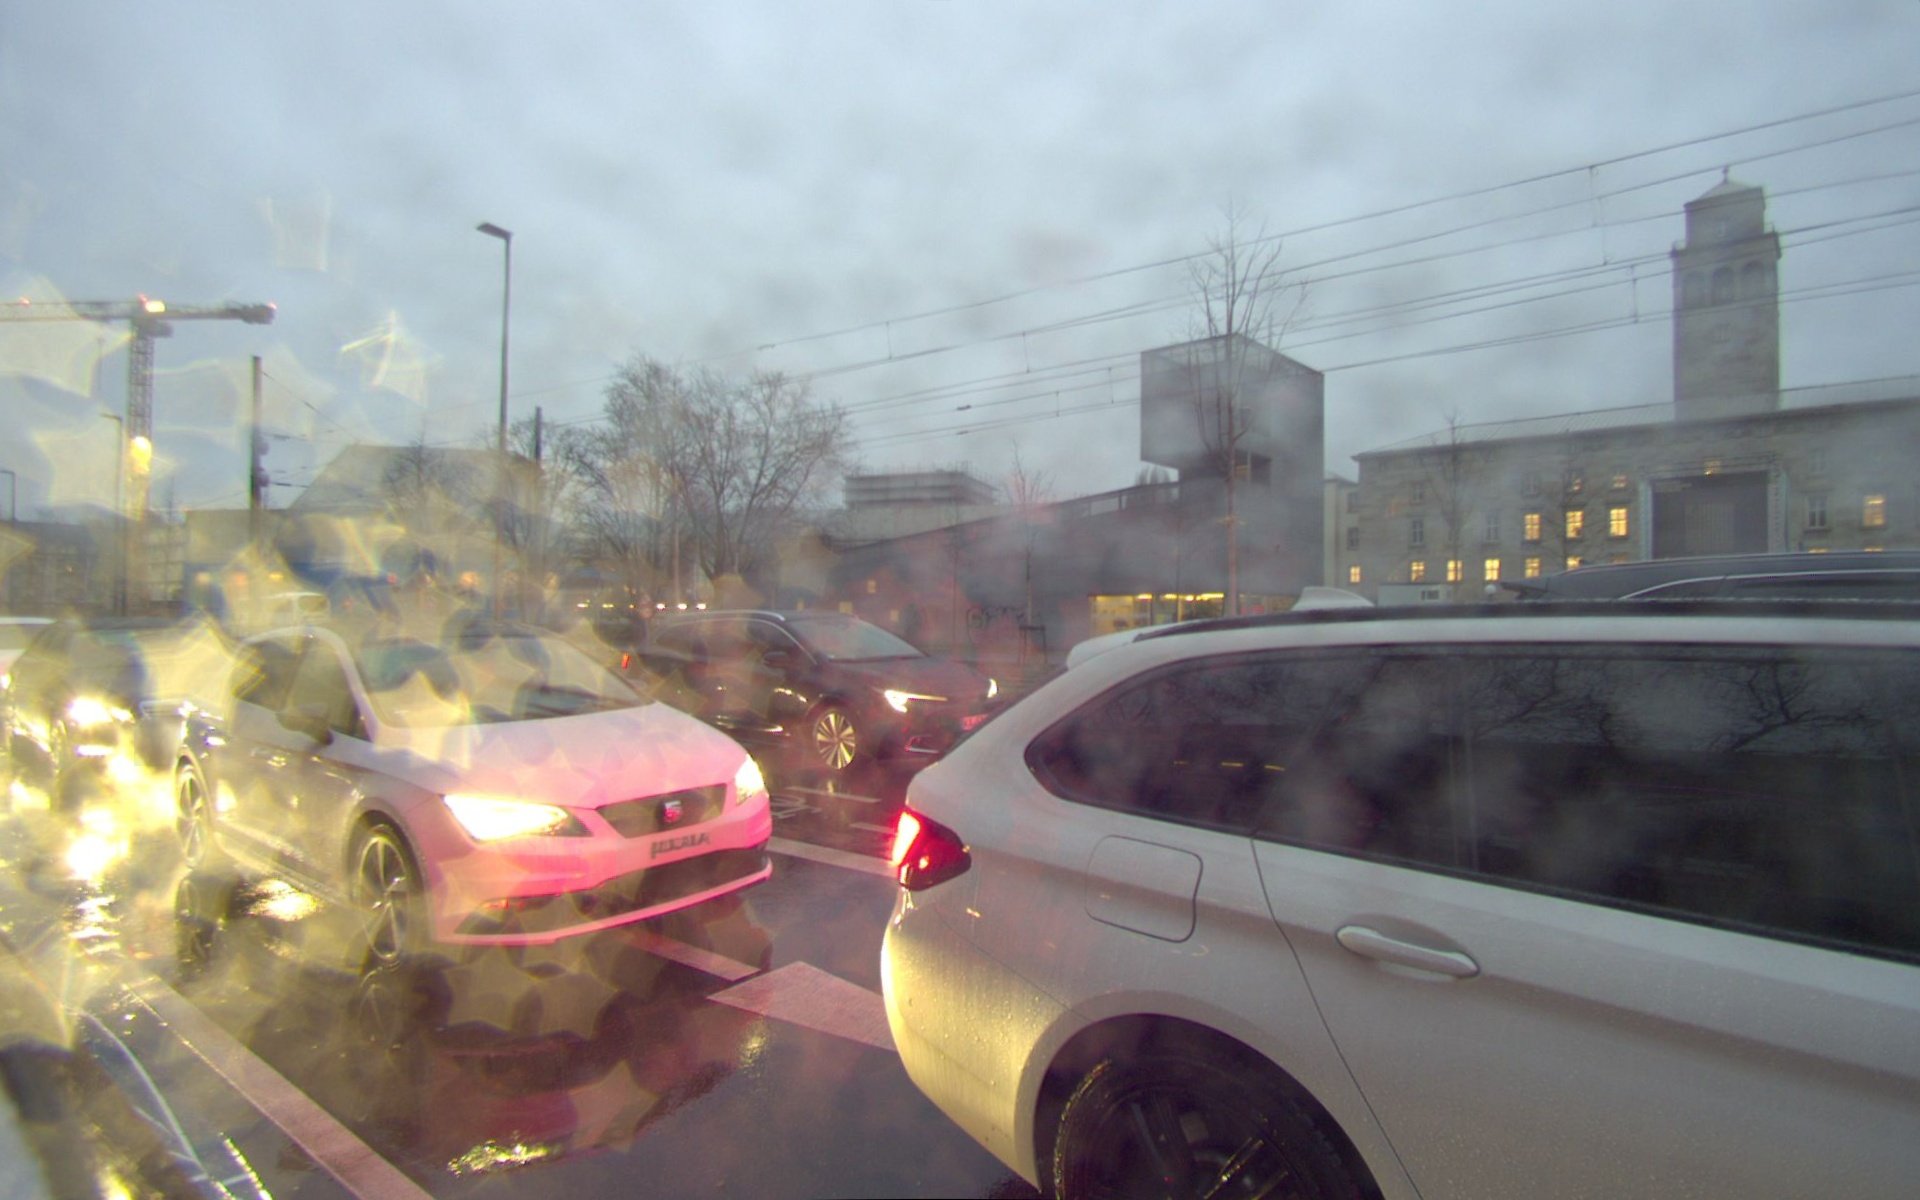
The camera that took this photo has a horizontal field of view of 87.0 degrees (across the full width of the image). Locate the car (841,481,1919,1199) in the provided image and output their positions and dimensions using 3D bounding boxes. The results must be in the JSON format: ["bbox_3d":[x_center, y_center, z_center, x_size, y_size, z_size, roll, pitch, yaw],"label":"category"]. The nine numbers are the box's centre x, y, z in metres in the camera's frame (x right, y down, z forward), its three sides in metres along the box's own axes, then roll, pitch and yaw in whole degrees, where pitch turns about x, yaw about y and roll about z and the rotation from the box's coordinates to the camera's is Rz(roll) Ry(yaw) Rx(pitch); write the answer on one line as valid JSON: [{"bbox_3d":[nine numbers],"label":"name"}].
[{"bbox_3d":[2.091,0.625,1.646,4.557,1.498,1.996,-1,-2,41],"label":"car"}]

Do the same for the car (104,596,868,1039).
[{"bbox_3d":[-2.827,0.770,5.577,4.497,1.498,1.926,-1,0,37],"label":"car"}]

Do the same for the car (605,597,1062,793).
[{"bbox_3d":[-1.432,0.761,10.072,4.659,1.519,1.830,0,-1,39],"label":"car"}]

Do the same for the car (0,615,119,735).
[{"bbox_3d":[-14.228,1.038,15.171,3.998,1.586,1.882,-1,0,41],"label":"car"}]

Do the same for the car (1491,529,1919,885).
[{"bbox_3d":[5.232,0.485,4.995,4.289,1.596,1.946,-1,-1,42],"label":"car"}]

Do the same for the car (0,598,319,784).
[{"bbox_3d":[-8.509,0.785,10.358,4.501,1.498,1.974,-1,-2,39],"label":"car"}]

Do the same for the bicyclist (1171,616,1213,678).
[{"bbox_3d":[6.731,1.346,29.363,0.960,1.746,0.754,1,1,38],"label":"bicyclist"}]

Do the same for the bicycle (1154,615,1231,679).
[{"bbox_3d":[6.734,1.340,29.368,2.061,1.746,0.754,1,1,39],"label":"bicycle"}]
